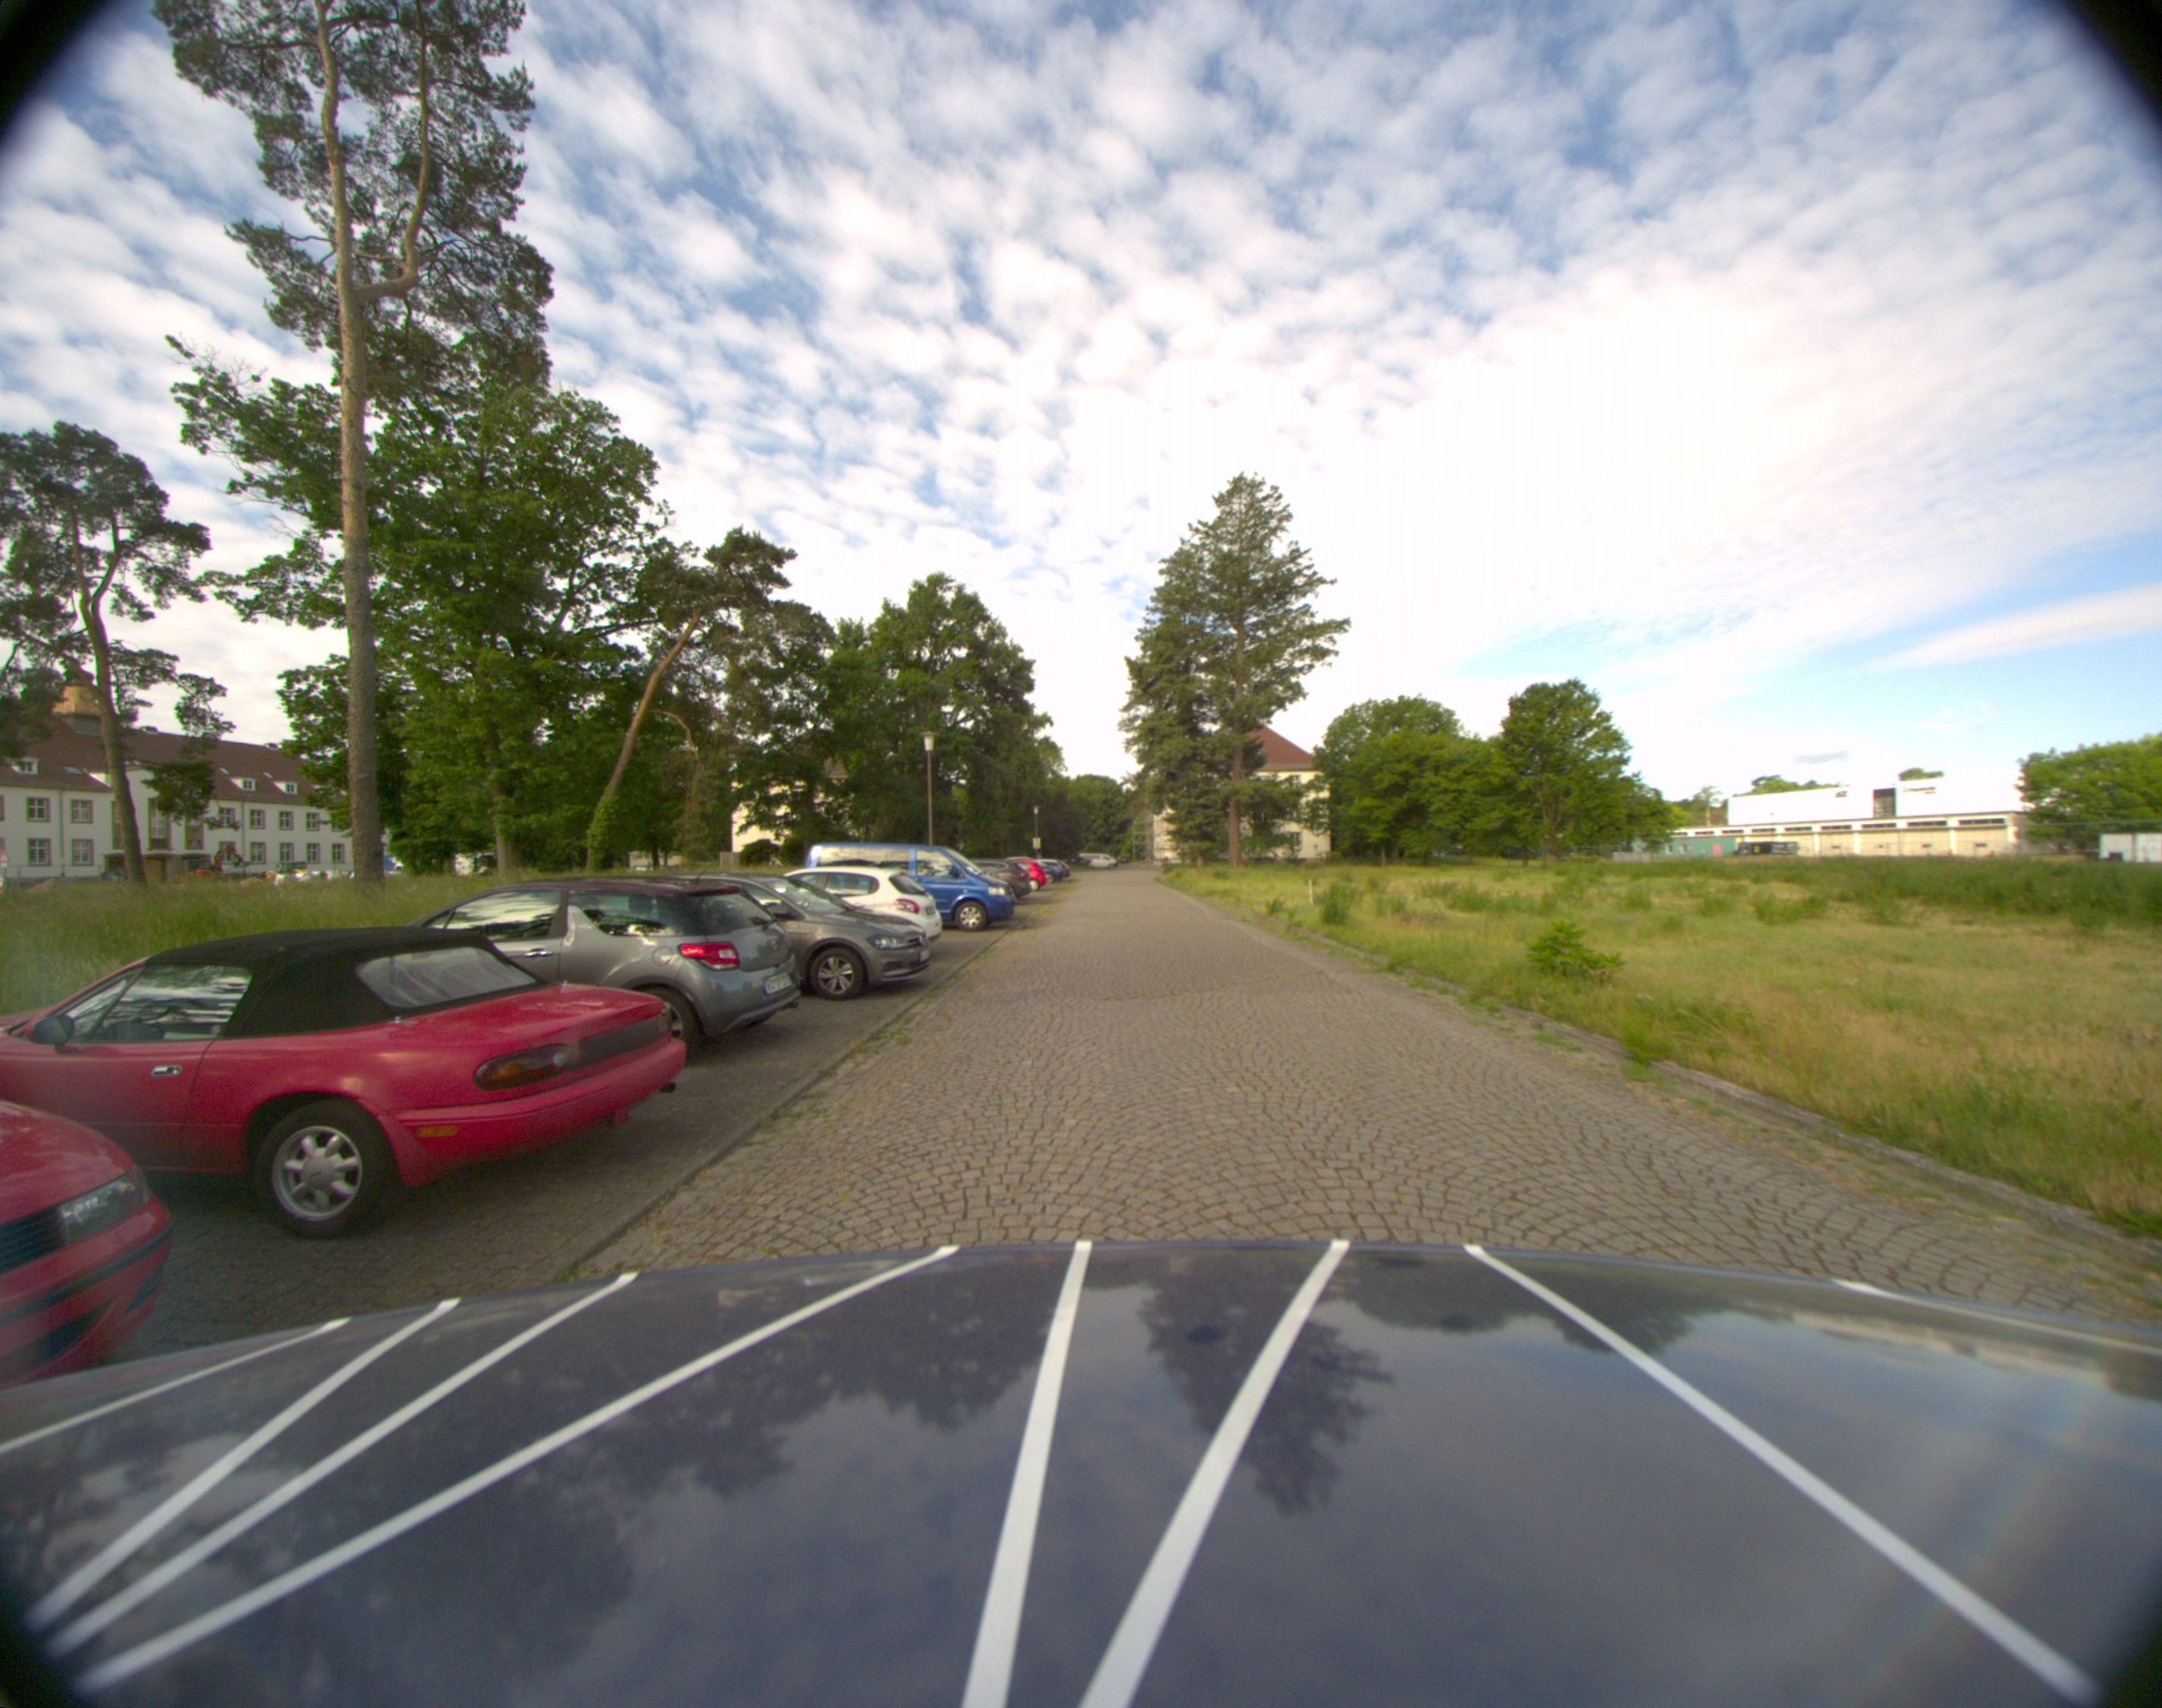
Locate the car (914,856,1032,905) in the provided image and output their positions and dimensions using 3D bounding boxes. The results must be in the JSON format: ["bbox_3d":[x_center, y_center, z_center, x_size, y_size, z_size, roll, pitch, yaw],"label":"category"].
[{"bbox_3d":[-3.682,0.889,26.357,3.838,1.592,1.581,-1,0,-2],"label":"car"}]

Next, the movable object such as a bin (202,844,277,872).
[{"bbox_3d":[-86.877,0.385,78.540,1.999,2.752,5.202,-1,0,-3],"label":"movable object such as a bin"}]

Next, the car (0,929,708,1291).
[{"bbox_3d":[-4.072,1.105,3.862,3.554,1.279,1.609,-1,-1,3],"label":"car"}]

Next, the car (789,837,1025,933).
[{"bbox_3d":[-3.920,0.679,17.719,4.953,2.011,2.061,1,1,3],"label":"car"}]

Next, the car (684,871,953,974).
[{"bbox_3d":[-4.126,1.062,12.300,3.761,1.490,1.581,-1,1,4],"label":"car"}]

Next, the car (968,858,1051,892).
[{"bbox_3d":[-3.413,0.988,36.775,3.838,1.516,1.581,-1,1,-2],"label":"car"}]

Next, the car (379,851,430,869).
[{"bbox_3d":[-79.537,0.710,89.421,2.217,2.002,4.002,-1,0,7],"label":"car"}]

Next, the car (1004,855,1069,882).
[{"bbox_3d":[-2.733,0.901,47.142,3.835,1.609,1.582,-1,1,7],"label":"car"}]

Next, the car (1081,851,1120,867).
[{"bbox_3d":[2.568,0.615,100.454,5.129,2.002,1.804,-1,1,0],"label":"car"}]

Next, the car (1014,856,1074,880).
[{"bbox_3d":[-2.471,0.936,51.700,3.835,1.520,1.674,-1,0,7],"label":"car"}]

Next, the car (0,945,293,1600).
[{"bbox_3d":[-4.537,1.023,1.560,4.117,1.415,1.720,-1,1,3],"label":"car"}]

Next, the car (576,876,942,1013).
[{"bbox_3d":[-3.797,1.055,9.358,3.780,1.457,1.643,-1,0,4],"label":"car"}]

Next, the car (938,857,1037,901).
[{"bbox_3d":[-3.551,0.925,29.285,3.633,1.592,1.581,-1,0,-2],"label":"car"}]

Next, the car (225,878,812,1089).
[{"bbox_3d":[-4.522,1.005,6.505,3.837,1.495,1.604,-1,1,2],"label":"car"}]
